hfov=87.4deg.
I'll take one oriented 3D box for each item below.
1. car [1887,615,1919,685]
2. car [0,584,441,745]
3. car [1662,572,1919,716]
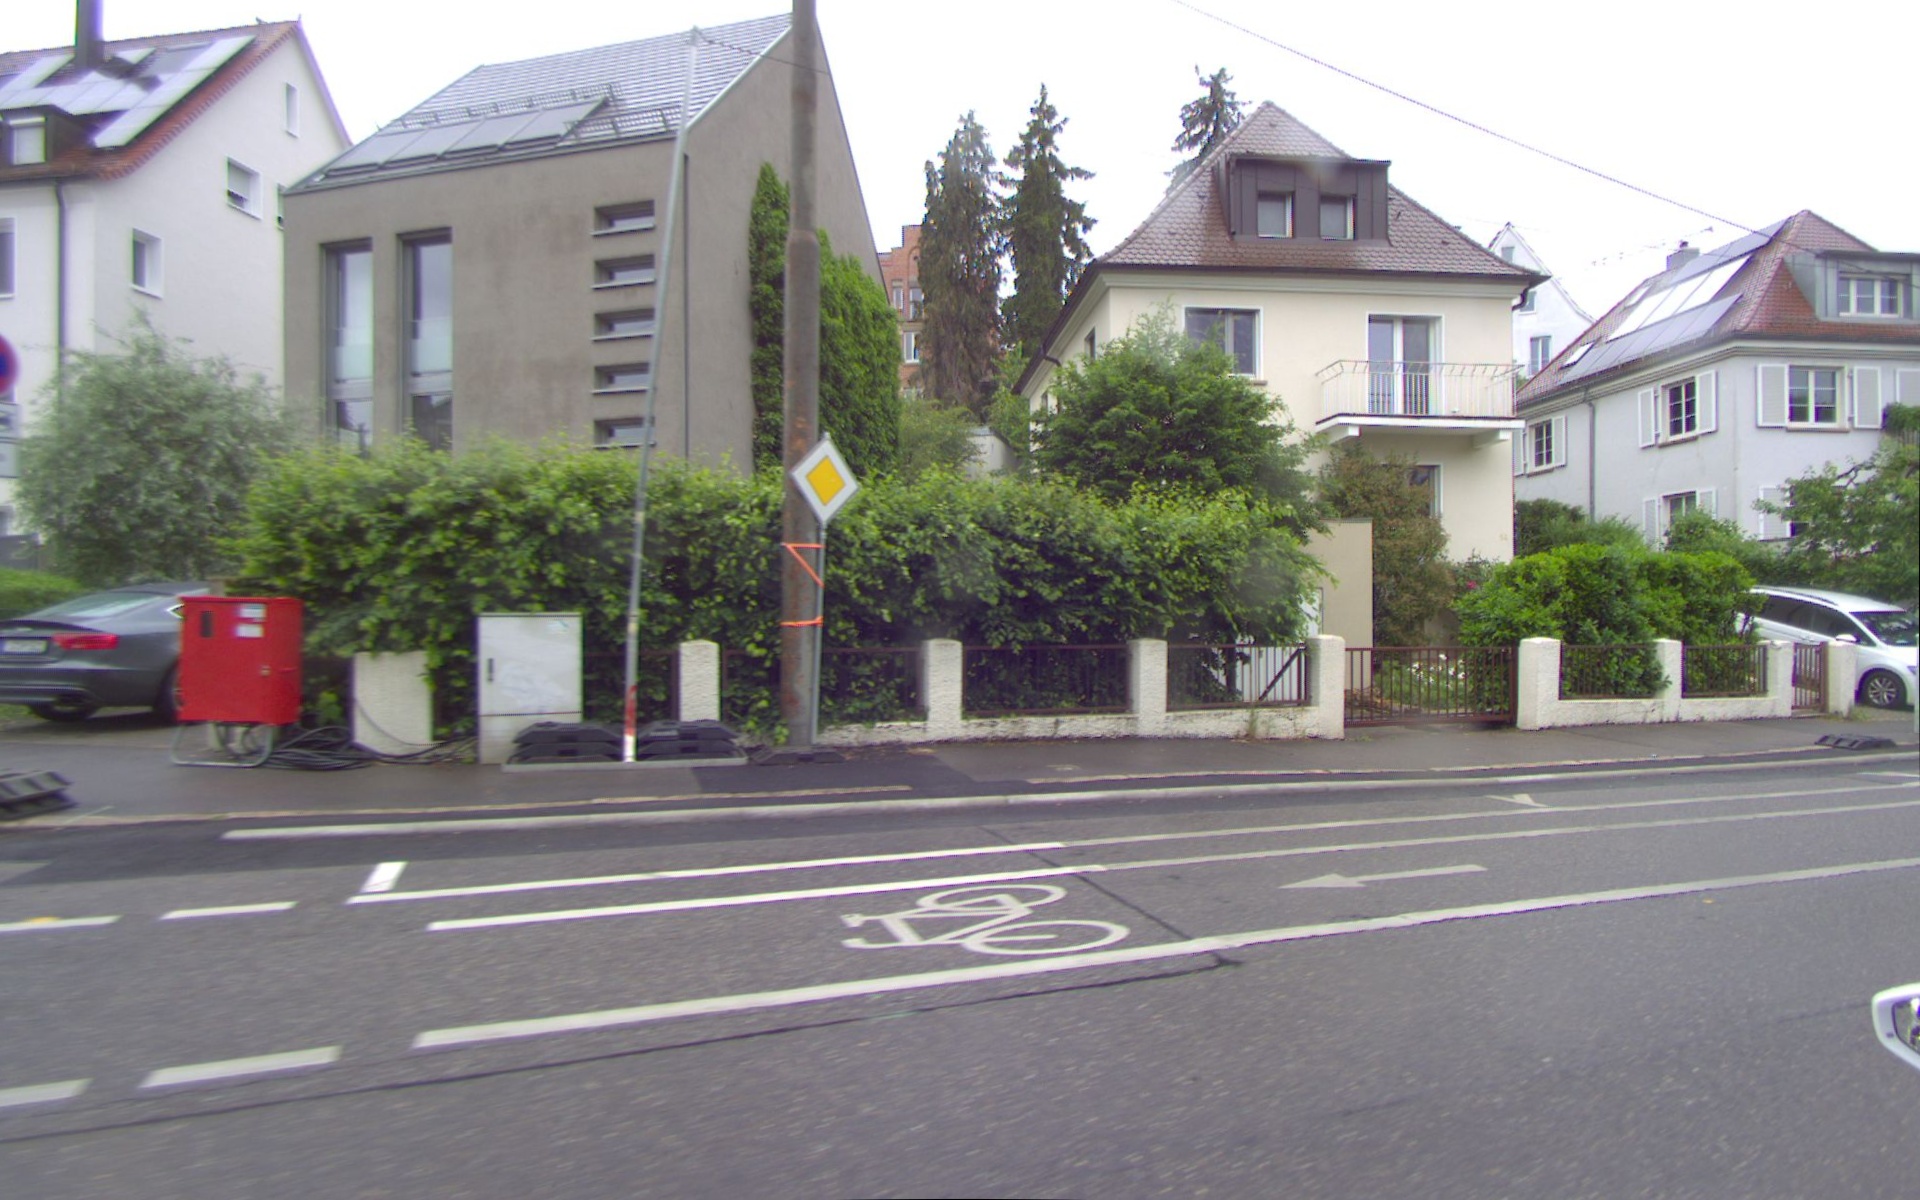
[{"bbox_3d":[22.583,1.160,21.265,1.906,1.546,3.992,2,0,-11],"label":"car"},{"bbox_3d":[-7.903,0.524,10.996,1.581,1.387,4.265,0,1,13],"label":"car"},{"bbox_3d":[16.012,0.654,18.634,1.830,1.640,4.967,0,10,-10],"label":"car"}]
